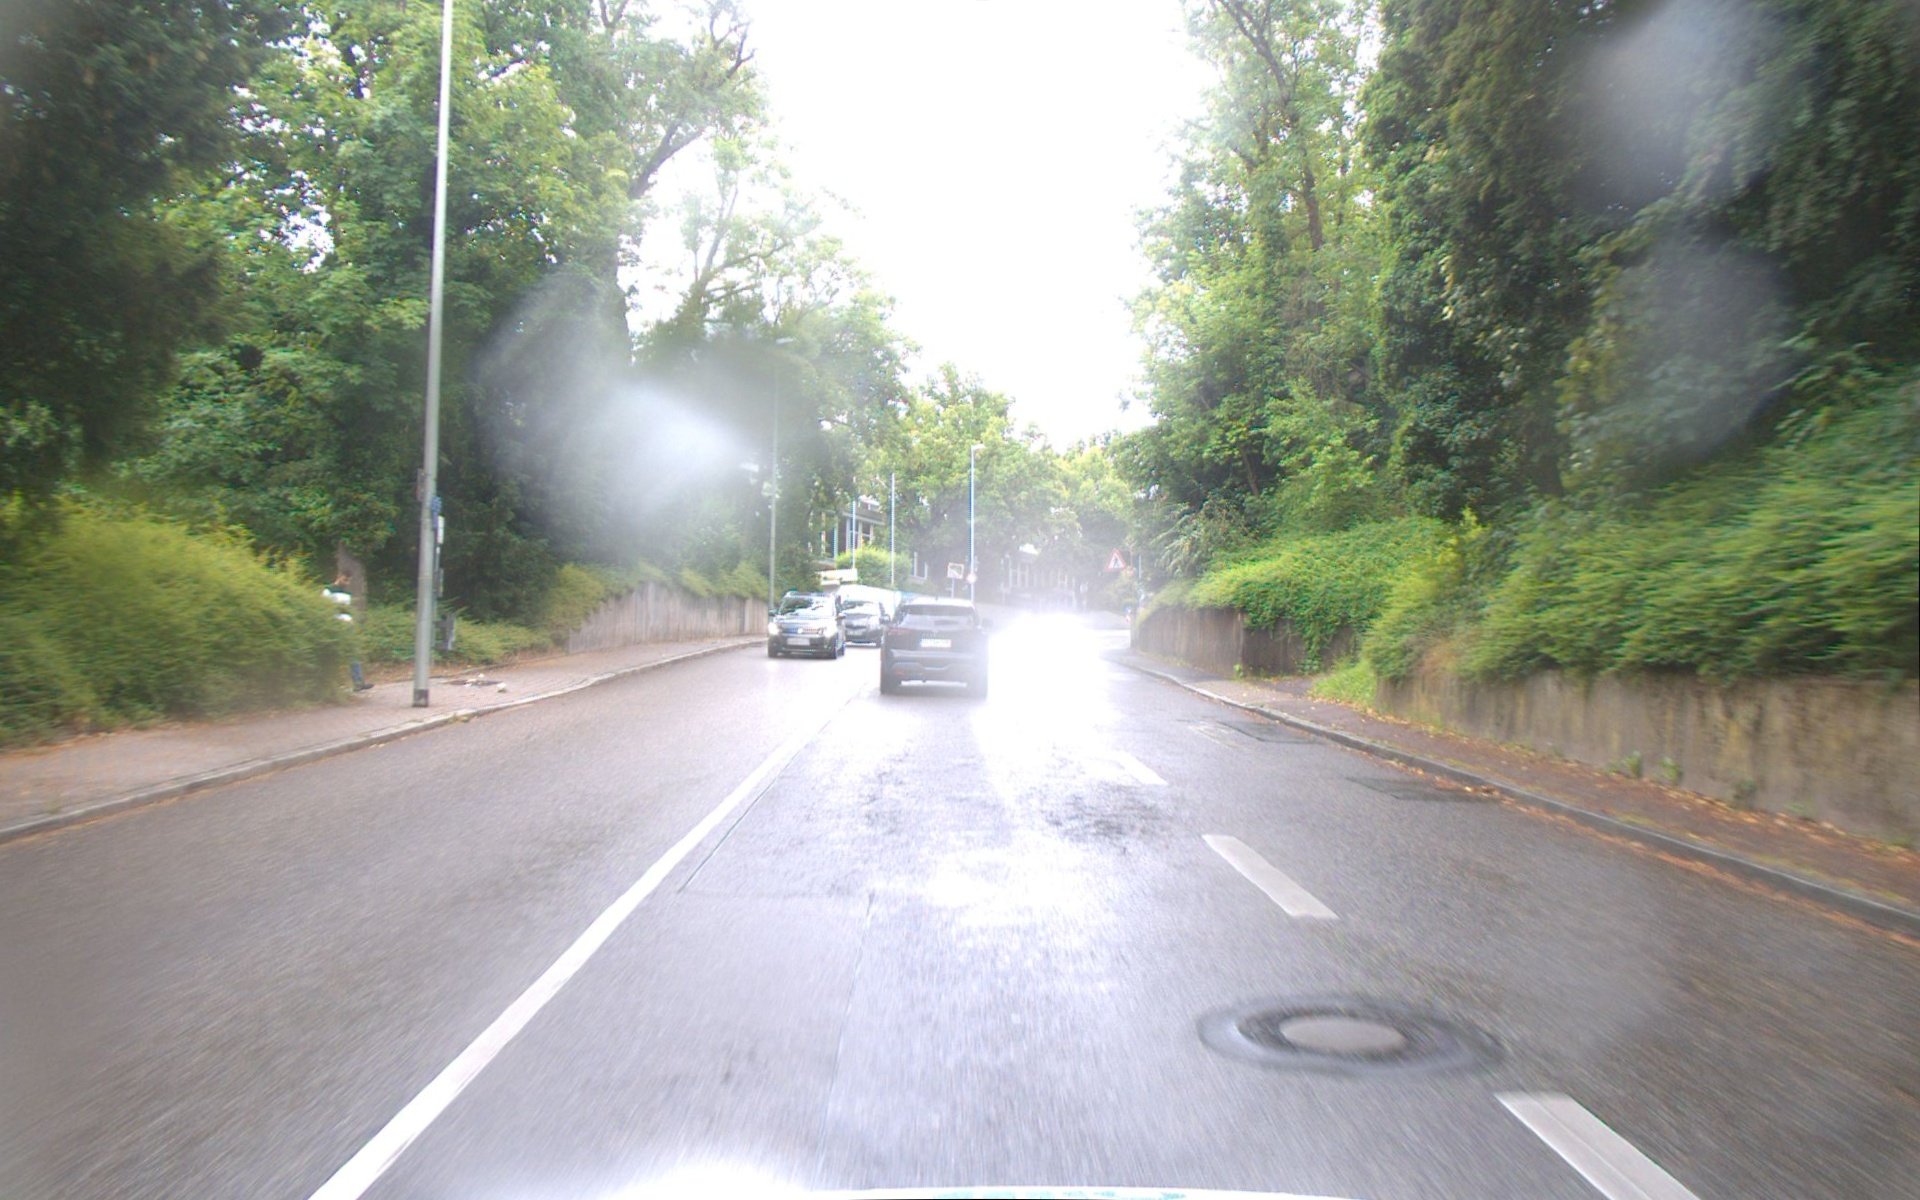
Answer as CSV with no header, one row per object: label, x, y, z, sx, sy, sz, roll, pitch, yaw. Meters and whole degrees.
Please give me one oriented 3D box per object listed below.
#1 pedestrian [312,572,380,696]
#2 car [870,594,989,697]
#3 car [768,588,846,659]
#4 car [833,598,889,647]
pedestrian,-8.442,0.459,22.748,0.701,1.673,0.704,0,0,-37
car,-0.520,0.725,28.526,1.889,1.641,3.999,0,0,-1
car,-3.943,0.584,43.039,1.794,1.741,3.998,1,0,-2
car,-3.166,0.689,53.365,1.641,1.522,3.459,0,0,-1
